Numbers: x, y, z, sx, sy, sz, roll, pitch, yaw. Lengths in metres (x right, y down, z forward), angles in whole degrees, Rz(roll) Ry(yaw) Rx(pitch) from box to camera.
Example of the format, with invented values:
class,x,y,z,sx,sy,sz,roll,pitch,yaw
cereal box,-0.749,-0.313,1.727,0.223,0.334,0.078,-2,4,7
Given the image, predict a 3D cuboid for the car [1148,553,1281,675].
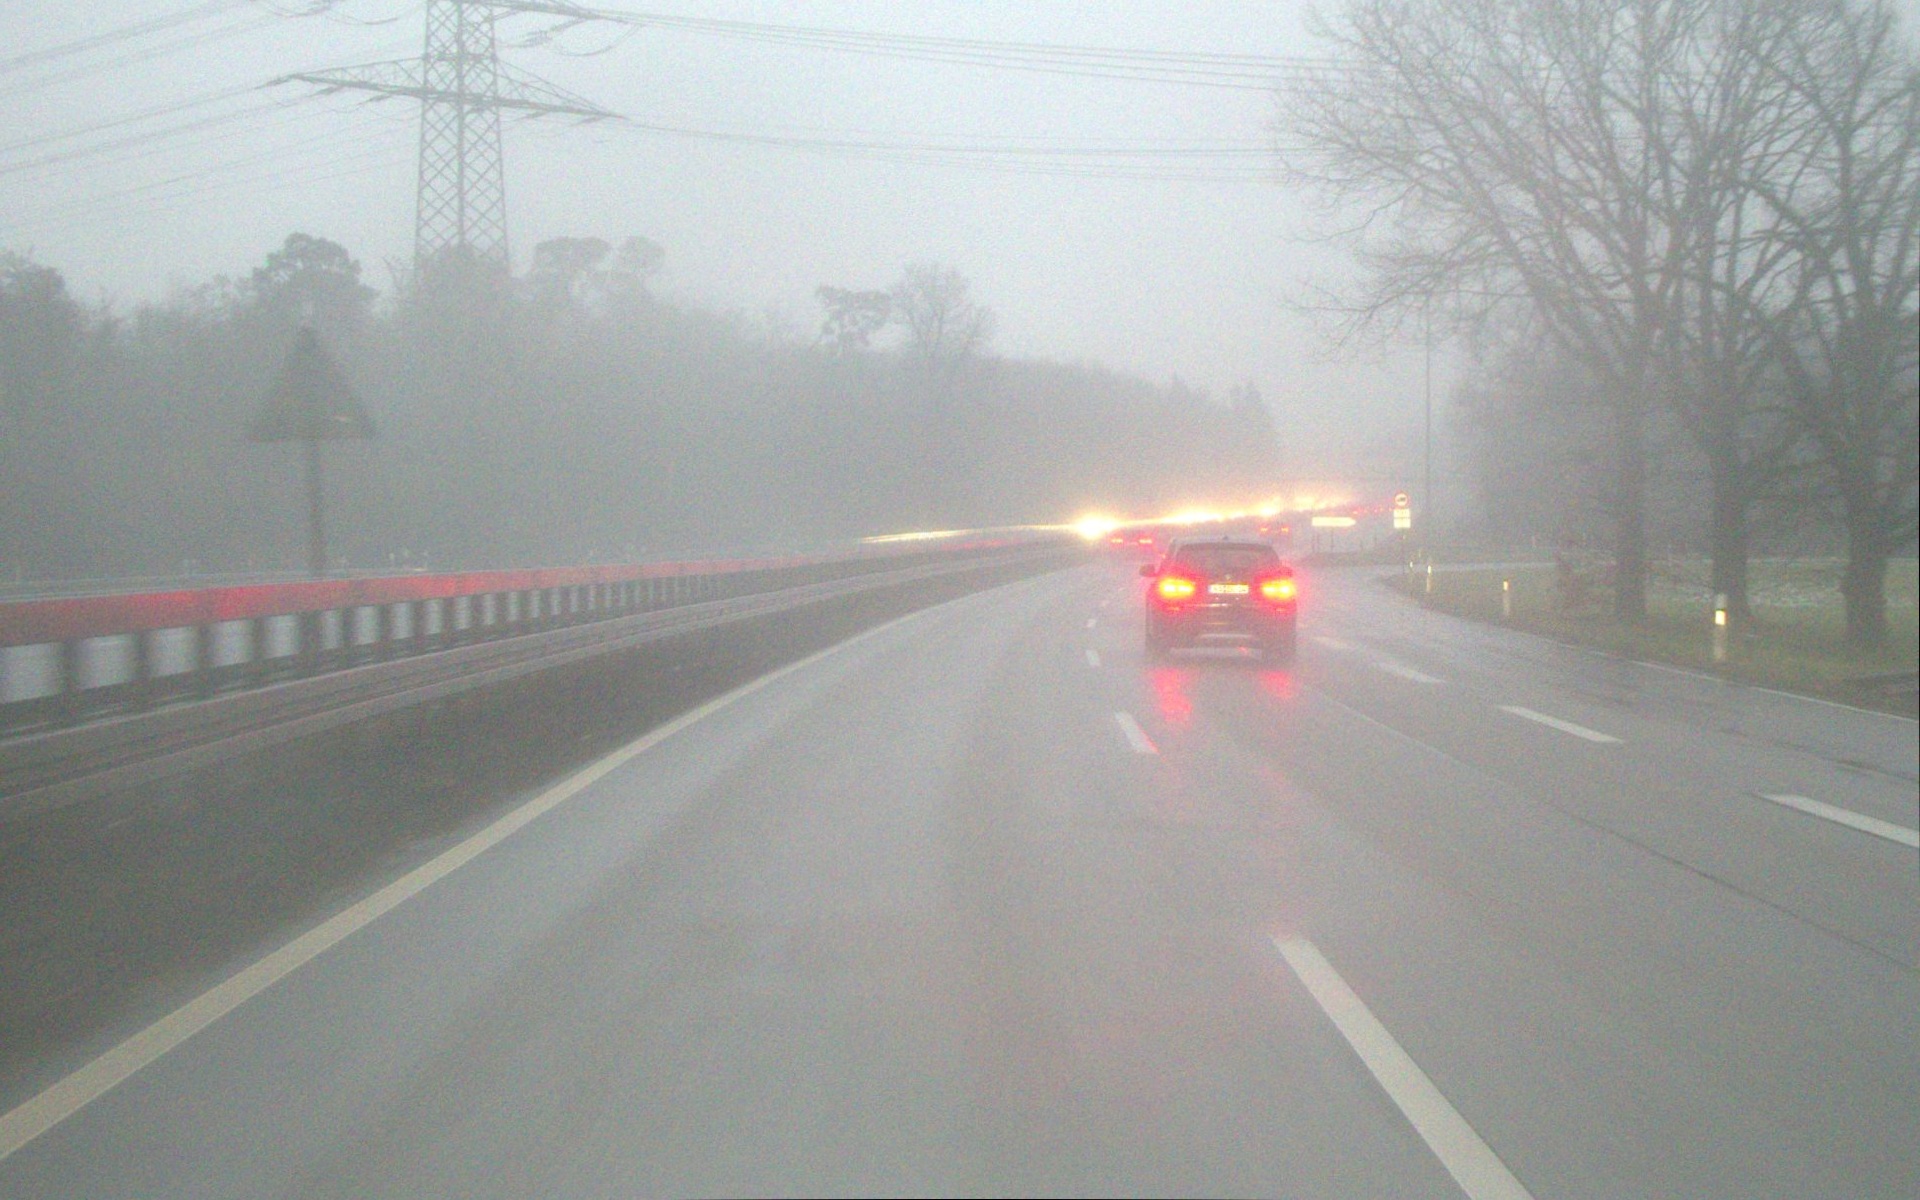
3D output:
class,x,y,z,sx,sy,sz,roll,pitch,yaw
car,3.408,0.160,46.495,1.678,1.503,3.809,0,2,3
